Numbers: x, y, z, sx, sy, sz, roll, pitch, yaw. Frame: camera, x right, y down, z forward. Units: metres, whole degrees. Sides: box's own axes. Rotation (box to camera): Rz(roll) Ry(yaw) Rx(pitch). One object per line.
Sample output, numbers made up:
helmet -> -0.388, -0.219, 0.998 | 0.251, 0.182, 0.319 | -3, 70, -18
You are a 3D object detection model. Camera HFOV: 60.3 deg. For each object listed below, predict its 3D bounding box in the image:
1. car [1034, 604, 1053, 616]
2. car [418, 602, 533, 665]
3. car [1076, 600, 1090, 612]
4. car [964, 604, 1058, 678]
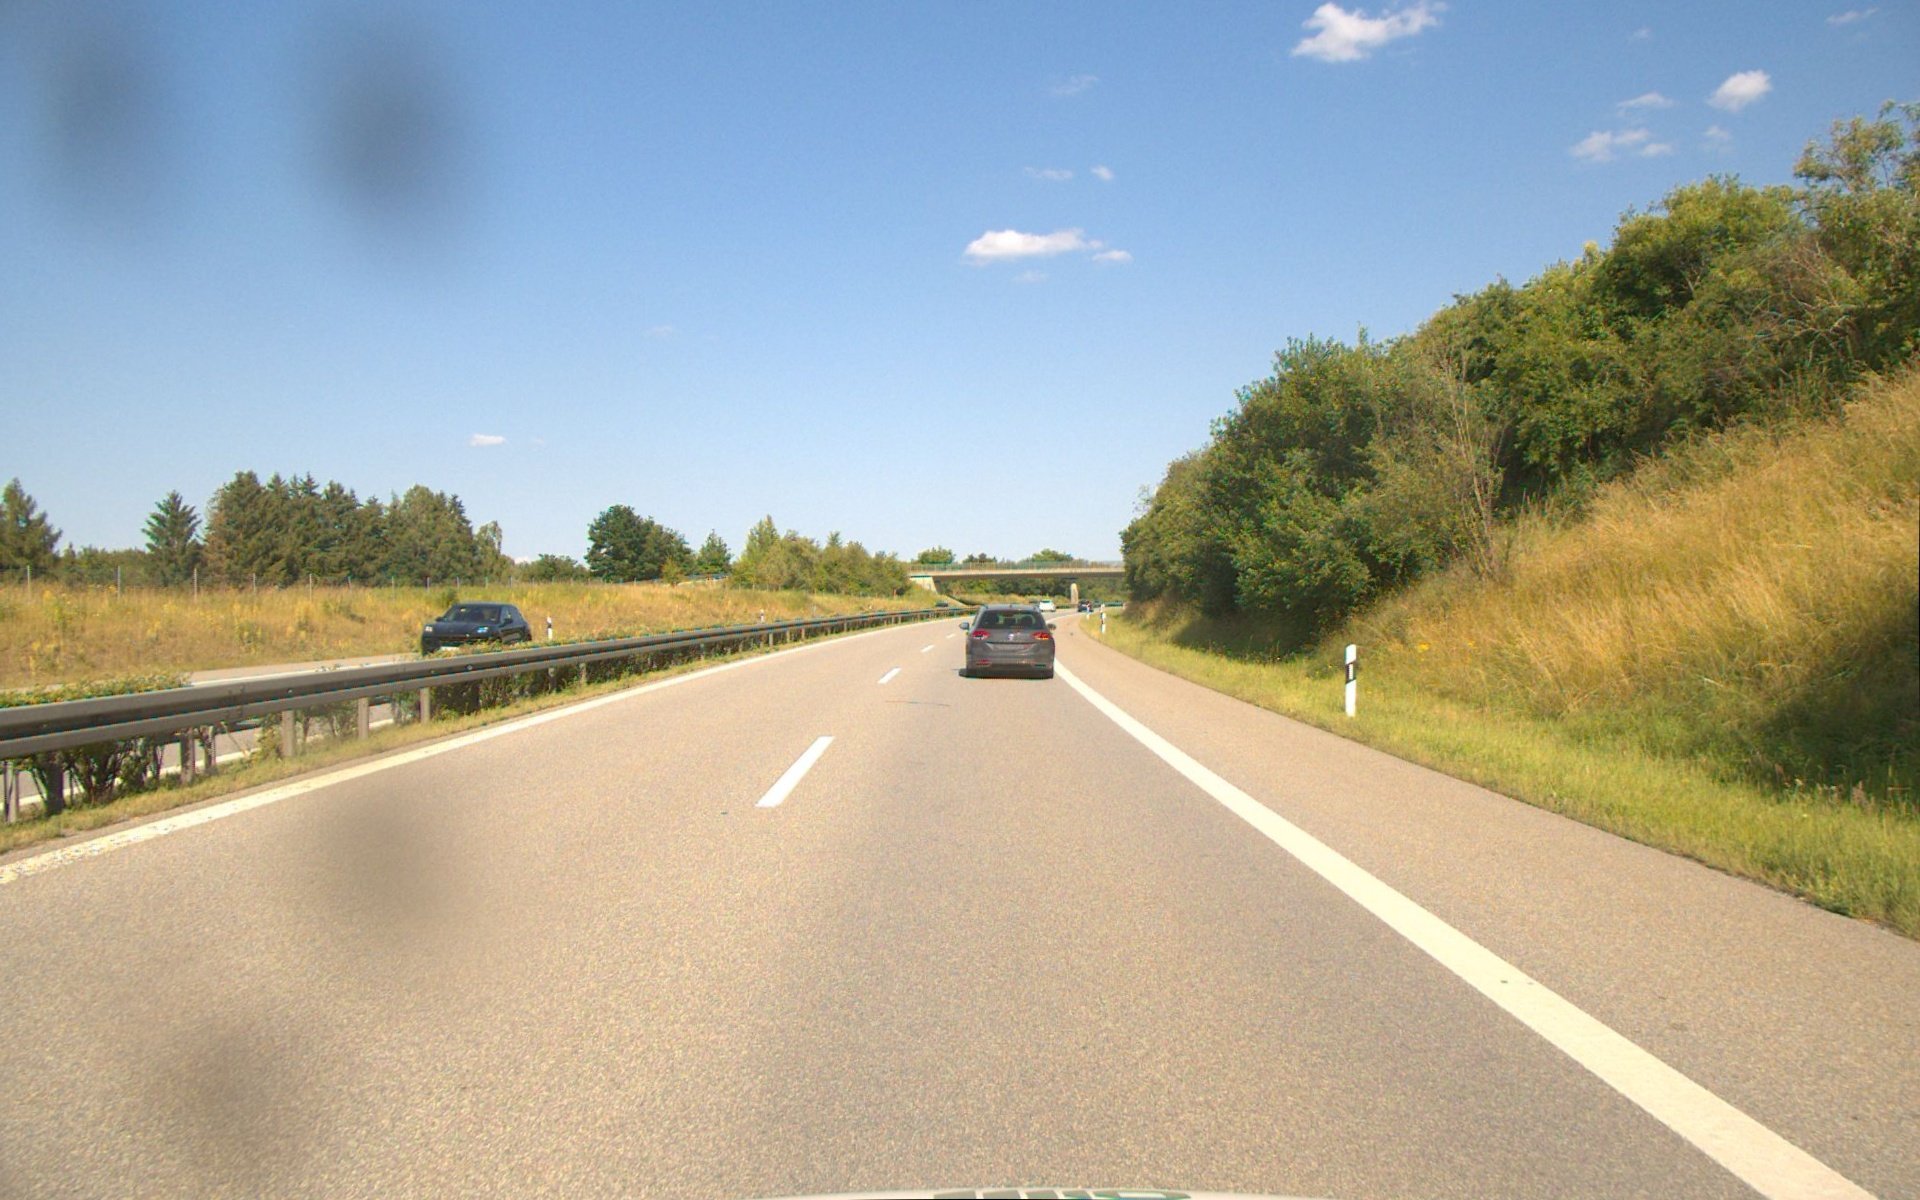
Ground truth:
car -> 10.144, 1.237, 200.654 | 1.964, 1.368, 4.002 | 1, -2, 6
car -> -13.251, 0.873, 45.494 | 1.794, 1.579, 4.466 | 0, 1, 0
car -> 15.521, 0.754, 208.976 | 1.675, 1.411, 3.356 | 2, -2, 3
car -> 1.079, 0.788, 33.577 | 1.753, 1.368, 4.002 | 2, 0, 3
